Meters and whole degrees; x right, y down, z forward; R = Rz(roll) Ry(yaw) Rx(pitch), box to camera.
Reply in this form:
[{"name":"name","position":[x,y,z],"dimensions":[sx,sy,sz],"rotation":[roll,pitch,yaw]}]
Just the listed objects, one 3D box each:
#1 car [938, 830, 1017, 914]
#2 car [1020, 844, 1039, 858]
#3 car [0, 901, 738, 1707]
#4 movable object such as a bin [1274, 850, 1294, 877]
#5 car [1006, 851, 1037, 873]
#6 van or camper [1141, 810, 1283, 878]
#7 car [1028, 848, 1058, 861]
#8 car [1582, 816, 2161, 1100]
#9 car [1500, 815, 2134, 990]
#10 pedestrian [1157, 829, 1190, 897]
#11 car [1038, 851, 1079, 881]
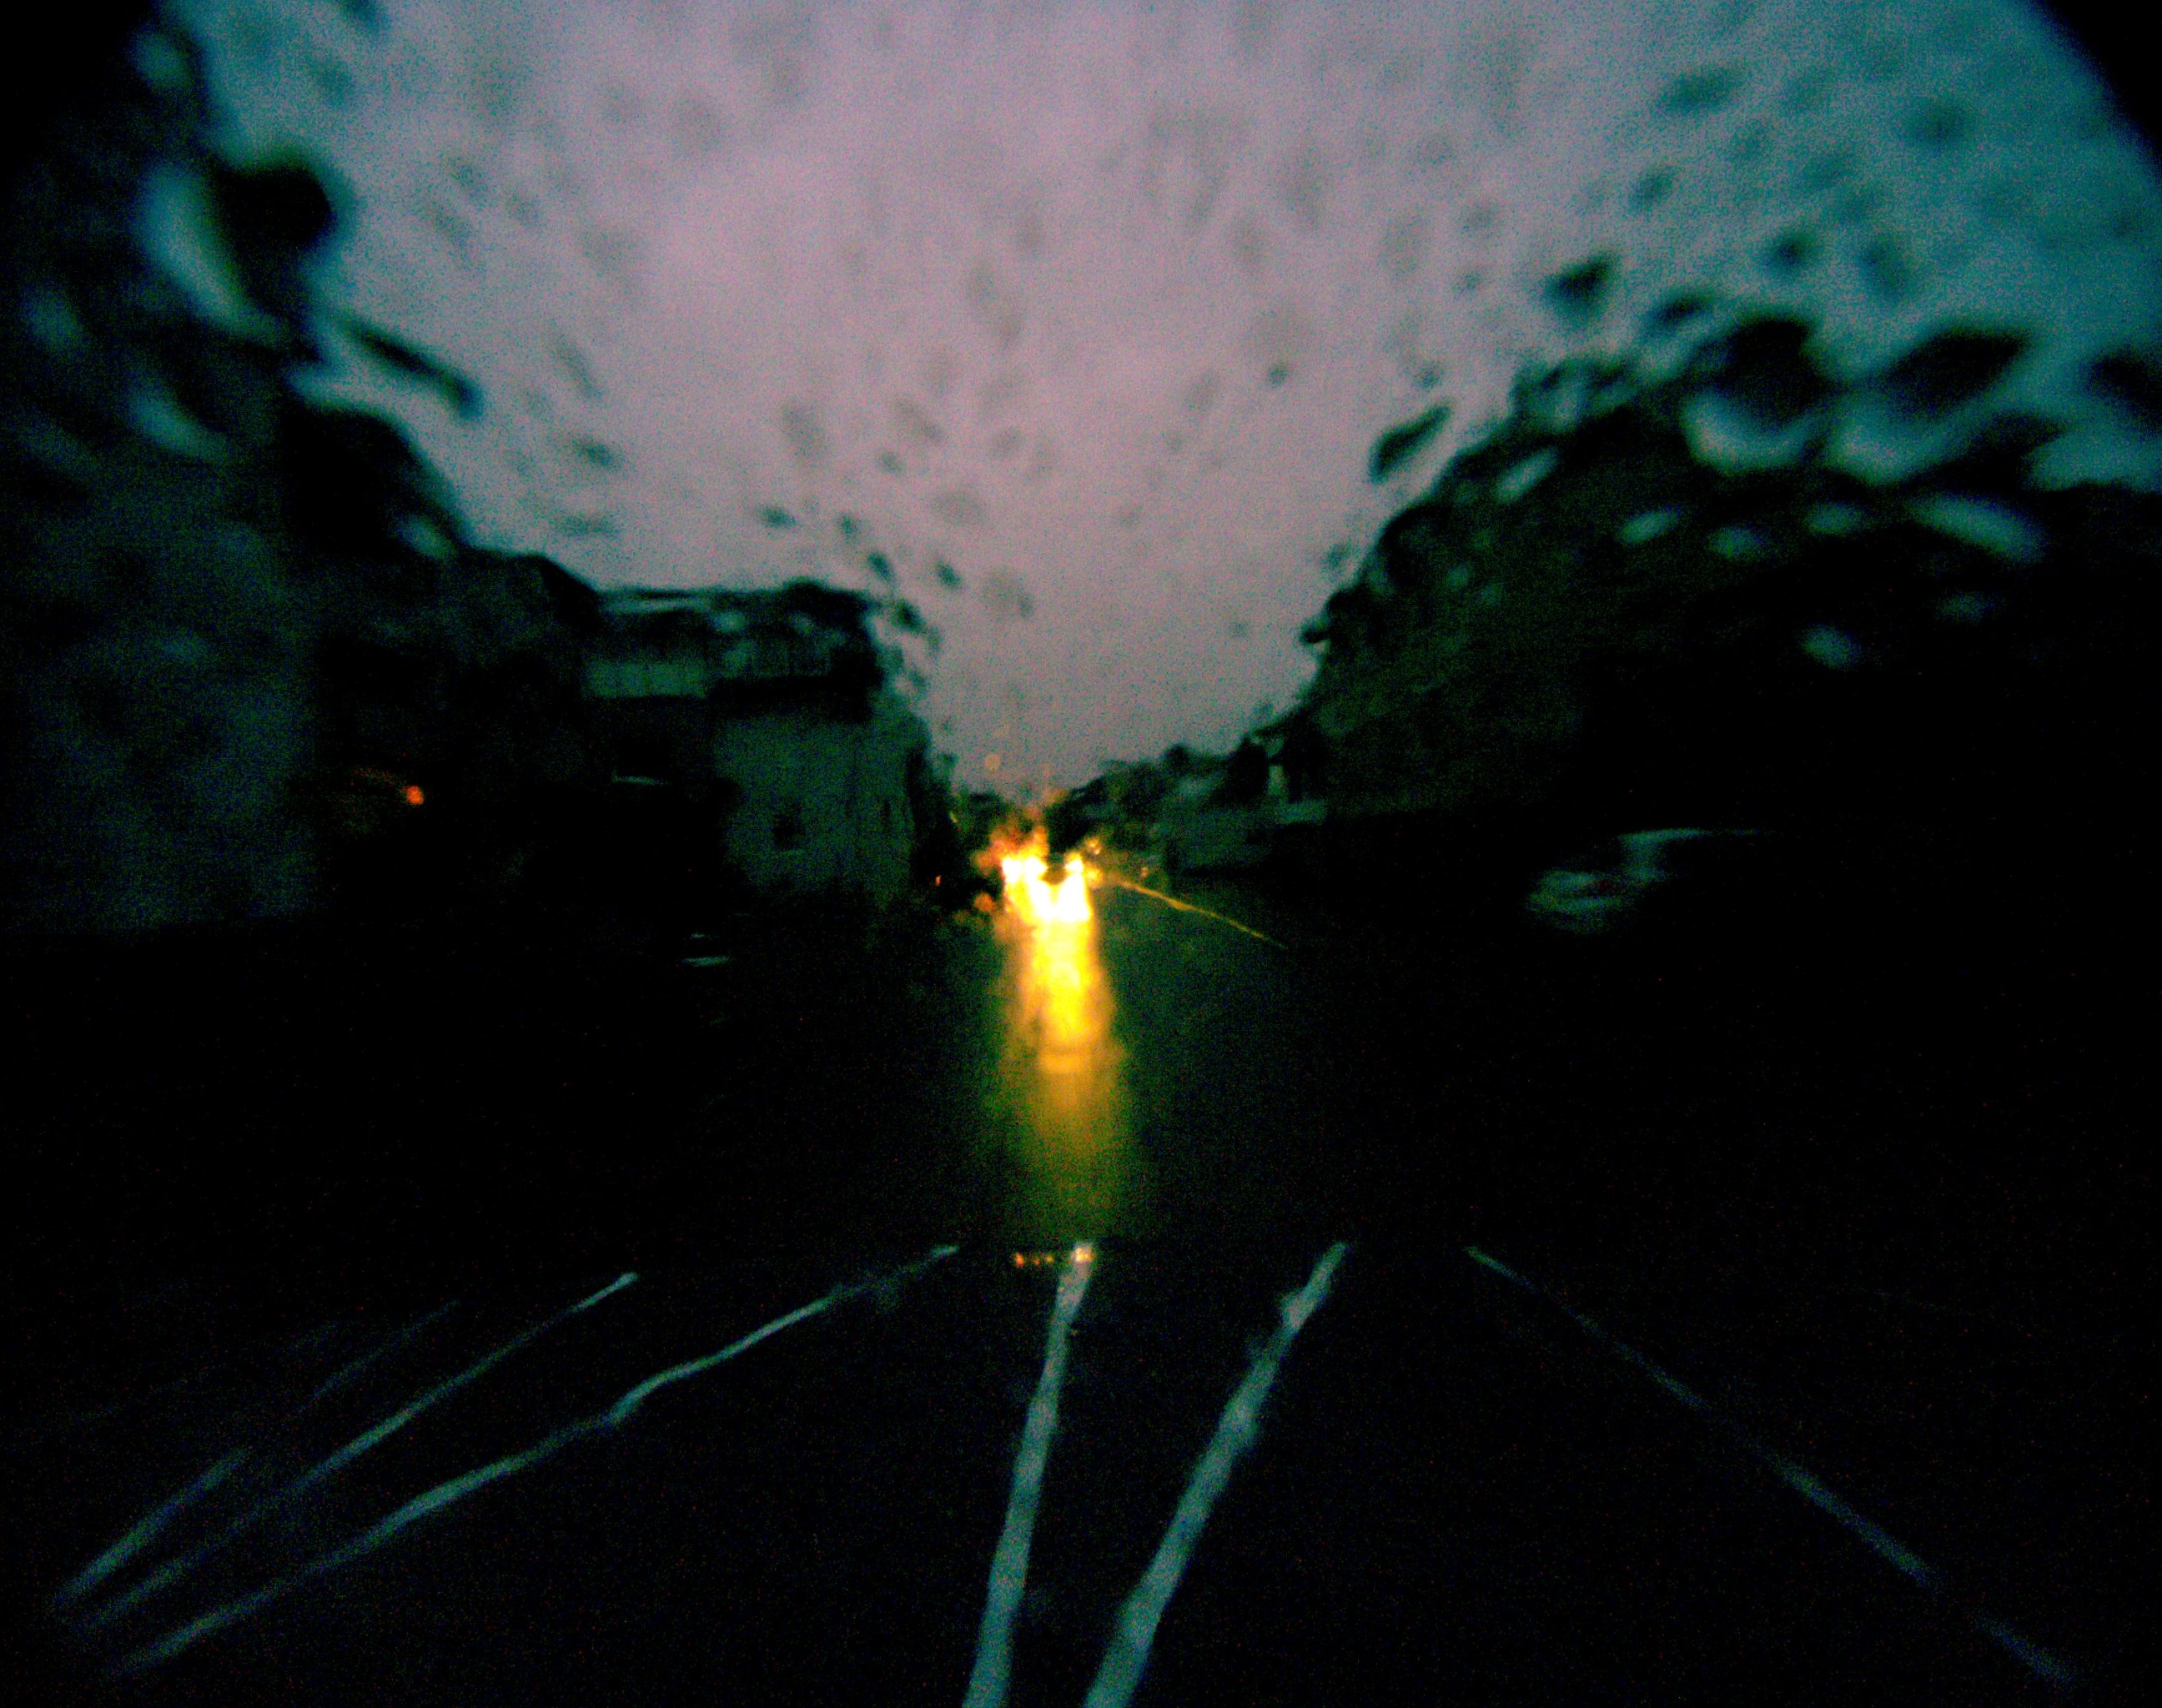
[{"name":"car","position":[-3.391,0.531,25.997],"dimensions":[2.014,2.440,5.613],"rotation":[-4,1,-3]},{"name":"car","position":[-6.995,-0.380,102.916],"dimensions":[1.756,1.652,3.995],"rotation":[-4,1,-15]},{"name":"car","position":[-2.851,1.082,2.528],"dimensions":[1.642,1.463,3.999],"rotation":[-4,1,-2]},{"name":"movable object such as a bin","position":[7.876,0.373,29.518],"dimensions":[0.618,1.015,0.580],"rotation":[-4,1,4]},{"name":"car","position":[-4.795,0.586,60.484],"dimensions":[1.992,1.549,4.232],"rotation":[-4,1,-10]},{"name":"van or camper","position":[5.949,-0.441,34.965],"dimensions":[6.075,2.925,2.323],"rotation":[-1,1,-3]},{"name":"car","position":[-5.531,0.065,109.658],"dimensions":[3.995,1.652,1.756],"rotation":[-3,1,5]},{"name":"car","position":[6.395,0.528,5.179],"dimensions":[4.605,1.462,2.000],"rotation":[-2,1,1]},{"name":"car","position":[7.252,0.459,7.963],"dimensions":[4.613,1.462,1.892],"rotation":[-2,1,4]},{"name":"pedestrian","position":[2.877,0.270,23.710],"dimensions":[0.785,2.002,0.869],"rotation":[-5,2,-1]},{"name":"car","position":[-1.400,0.658,44.949],"dimensions":[1.992,1.549,4.233],"rotation":[-4,1,-7]}]
